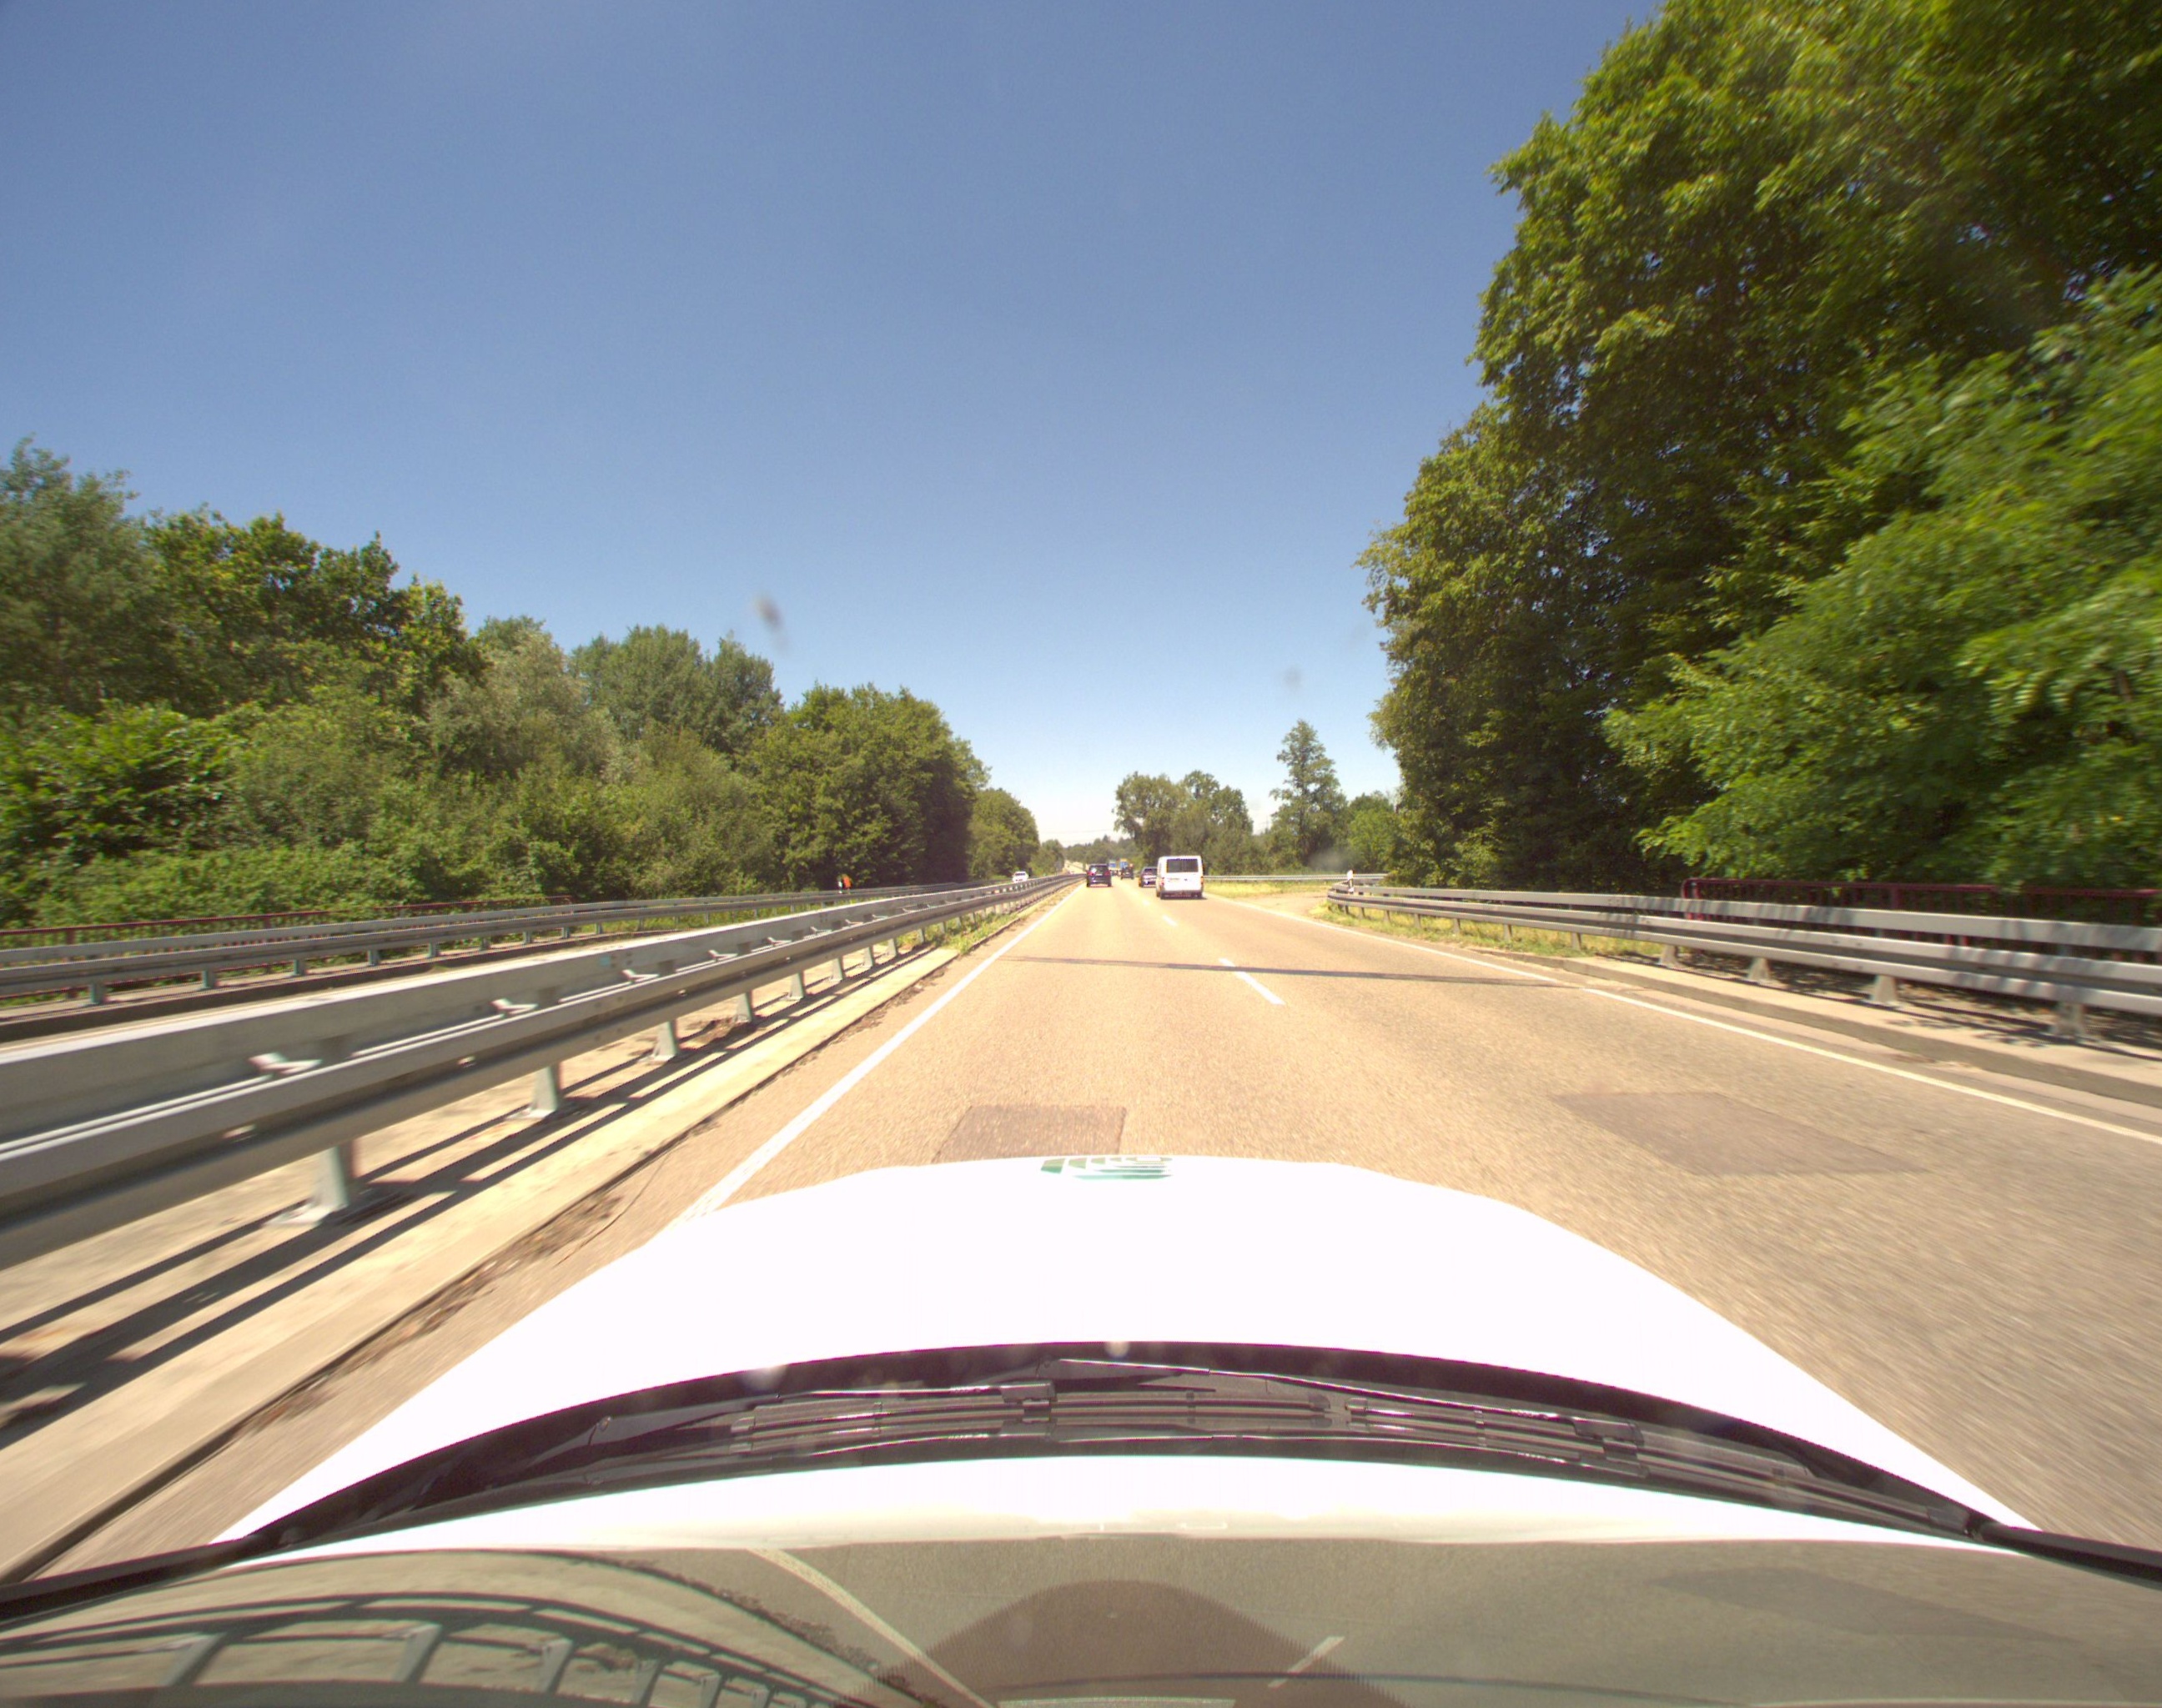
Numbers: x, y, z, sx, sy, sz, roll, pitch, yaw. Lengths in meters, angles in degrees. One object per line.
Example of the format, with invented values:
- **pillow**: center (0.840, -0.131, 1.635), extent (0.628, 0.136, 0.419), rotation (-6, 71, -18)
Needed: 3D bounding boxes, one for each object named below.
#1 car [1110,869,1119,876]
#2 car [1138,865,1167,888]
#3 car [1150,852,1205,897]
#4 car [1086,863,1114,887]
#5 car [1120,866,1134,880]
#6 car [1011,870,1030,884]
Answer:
- **car**: center (7.243, 4.053, 177.475), extent (1.813, 1.414, 4.000), rotation (-3, -1, 0)
- **car**: center (5.229, 1.617, 60.276), extent (1.779, 1.553, 4.018), rotation (-2, -1, 0)
- **car**: center (4.539, 1.002, 39.119), extent (1.999, 1.989, 5.033), rotation (-2, -2, 0)
- **car**: center (1.400, 1.585, 62.657), extent (1.987, 1.654, 3.999), rotation (-2, -1, -1)
- **car**: center (6.413, 2.604, 113.678), extent (1.773, 1.817, 4.213), rotation (-3, -1, 1)
- **car**: center (-7.526, 2.837, 101.063), extent (1.812, 1.599, 4.841), rotation (-4, -1, 1)
